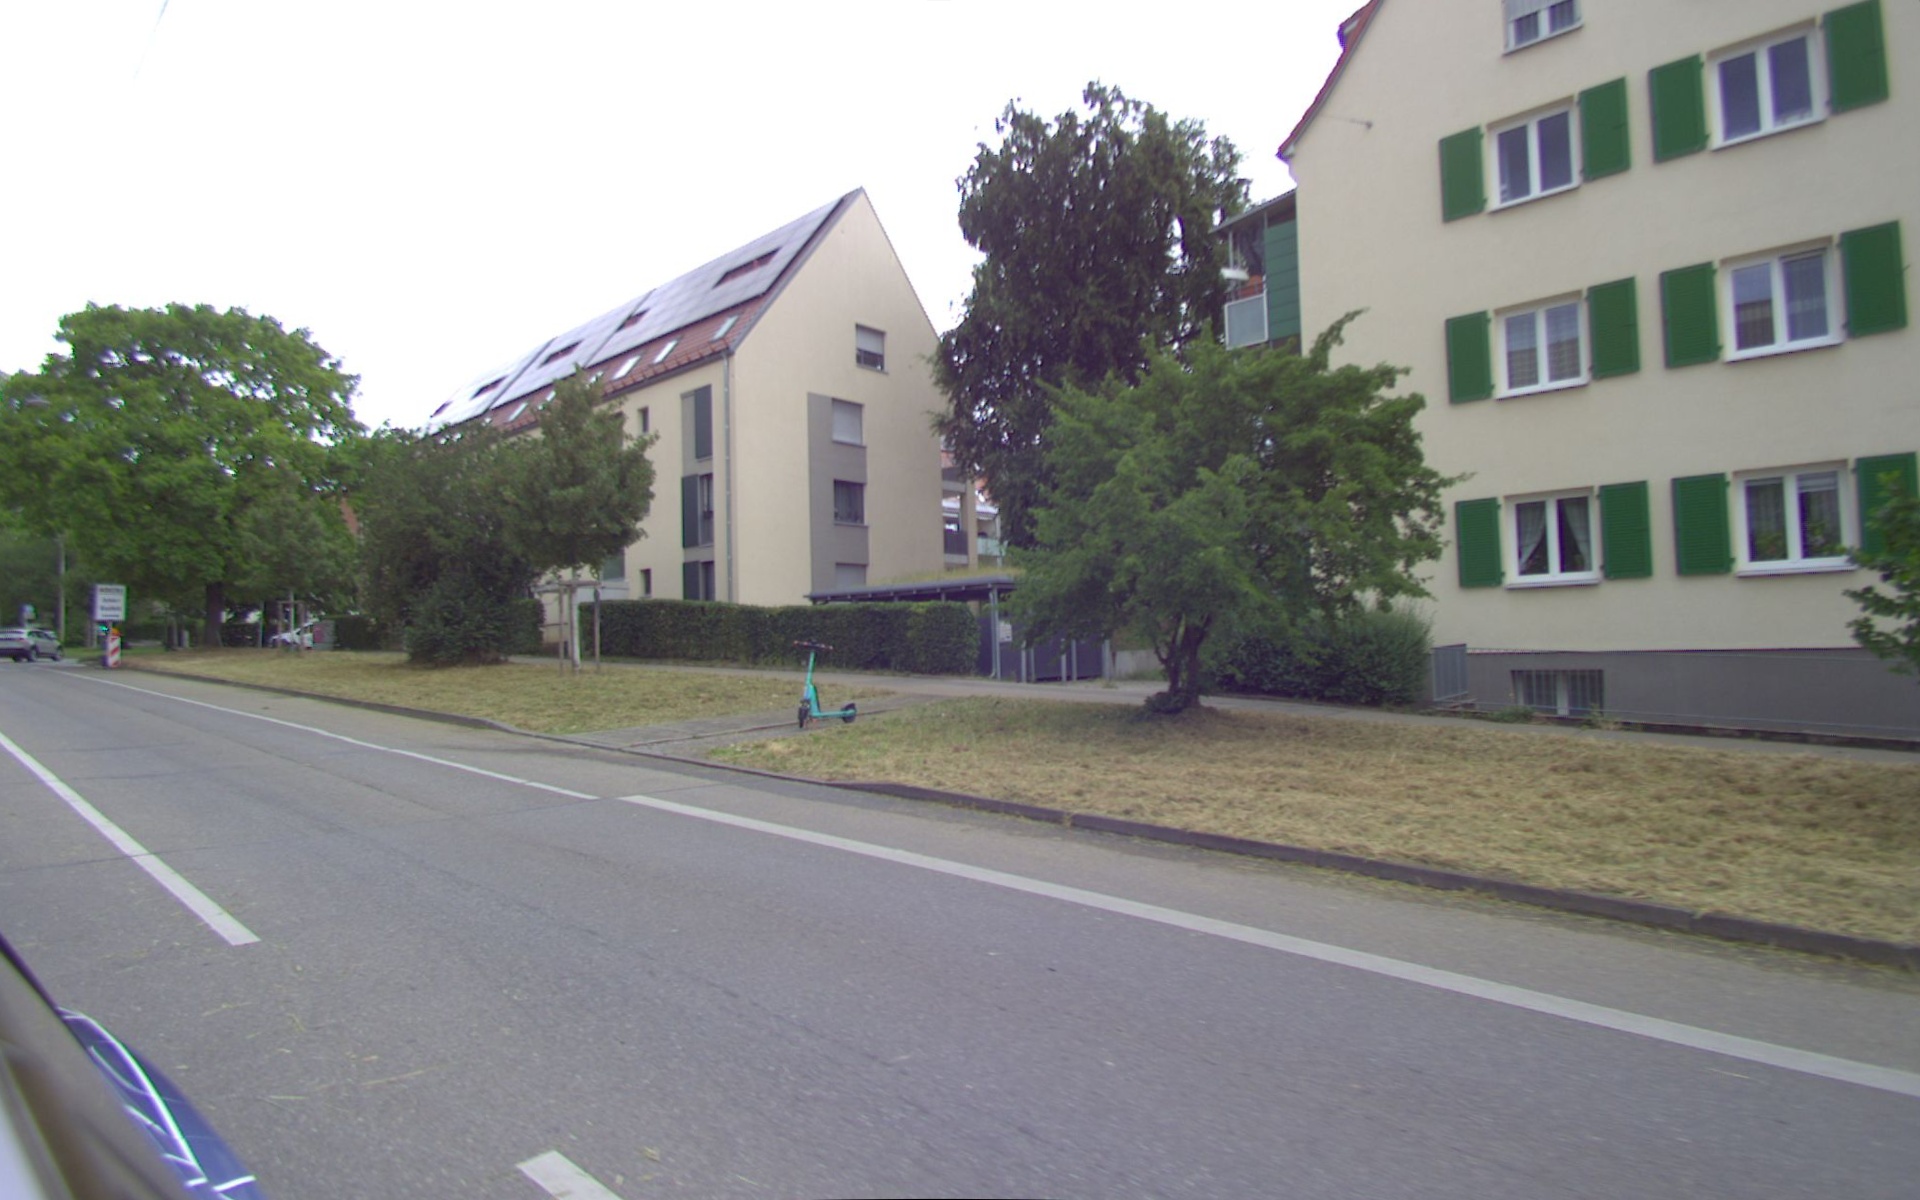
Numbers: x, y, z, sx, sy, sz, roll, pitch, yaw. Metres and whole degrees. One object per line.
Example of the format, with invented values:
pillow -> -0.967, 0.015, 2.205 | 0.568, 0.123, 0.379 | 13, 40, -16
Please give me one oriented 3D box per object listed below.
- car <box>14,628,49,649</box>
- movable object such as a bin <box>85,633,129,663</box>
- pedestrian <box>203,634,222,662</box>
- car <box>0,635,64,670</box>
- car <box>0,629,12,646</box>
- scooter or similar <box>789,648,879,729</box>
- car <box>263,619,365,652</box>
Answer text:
car -> -77.286, 3.179, 84.236 | 4.000, 1.618, 1.835 | -1, -1, 43
movable object such as a bin -> -56.469, 3.148, 66.981 | 3.234, 1.918, 1.088 | -1, -1, 28
pedestrian -> -48.925, 3.122, 66.247 | 0.682, 1.770, 0.775 | -1, -1, 10
car -> -42.736, 2.367, 46.080 | 1.776, 1.475, 4.042 | 2, -3, -26
car -> -79.488, 3.112, 83.537 | 4.000, 1.364, 1.583 | -1, -1, 43
scooter or similar -> -1.798, 1.252, 14.597 | 0.466, 1.094, 1.357 | -1, -2, 37
car -> -40.470, 2.188, 63.479 | 1.999, 1.932, 5.085 | -1, -1, 42
